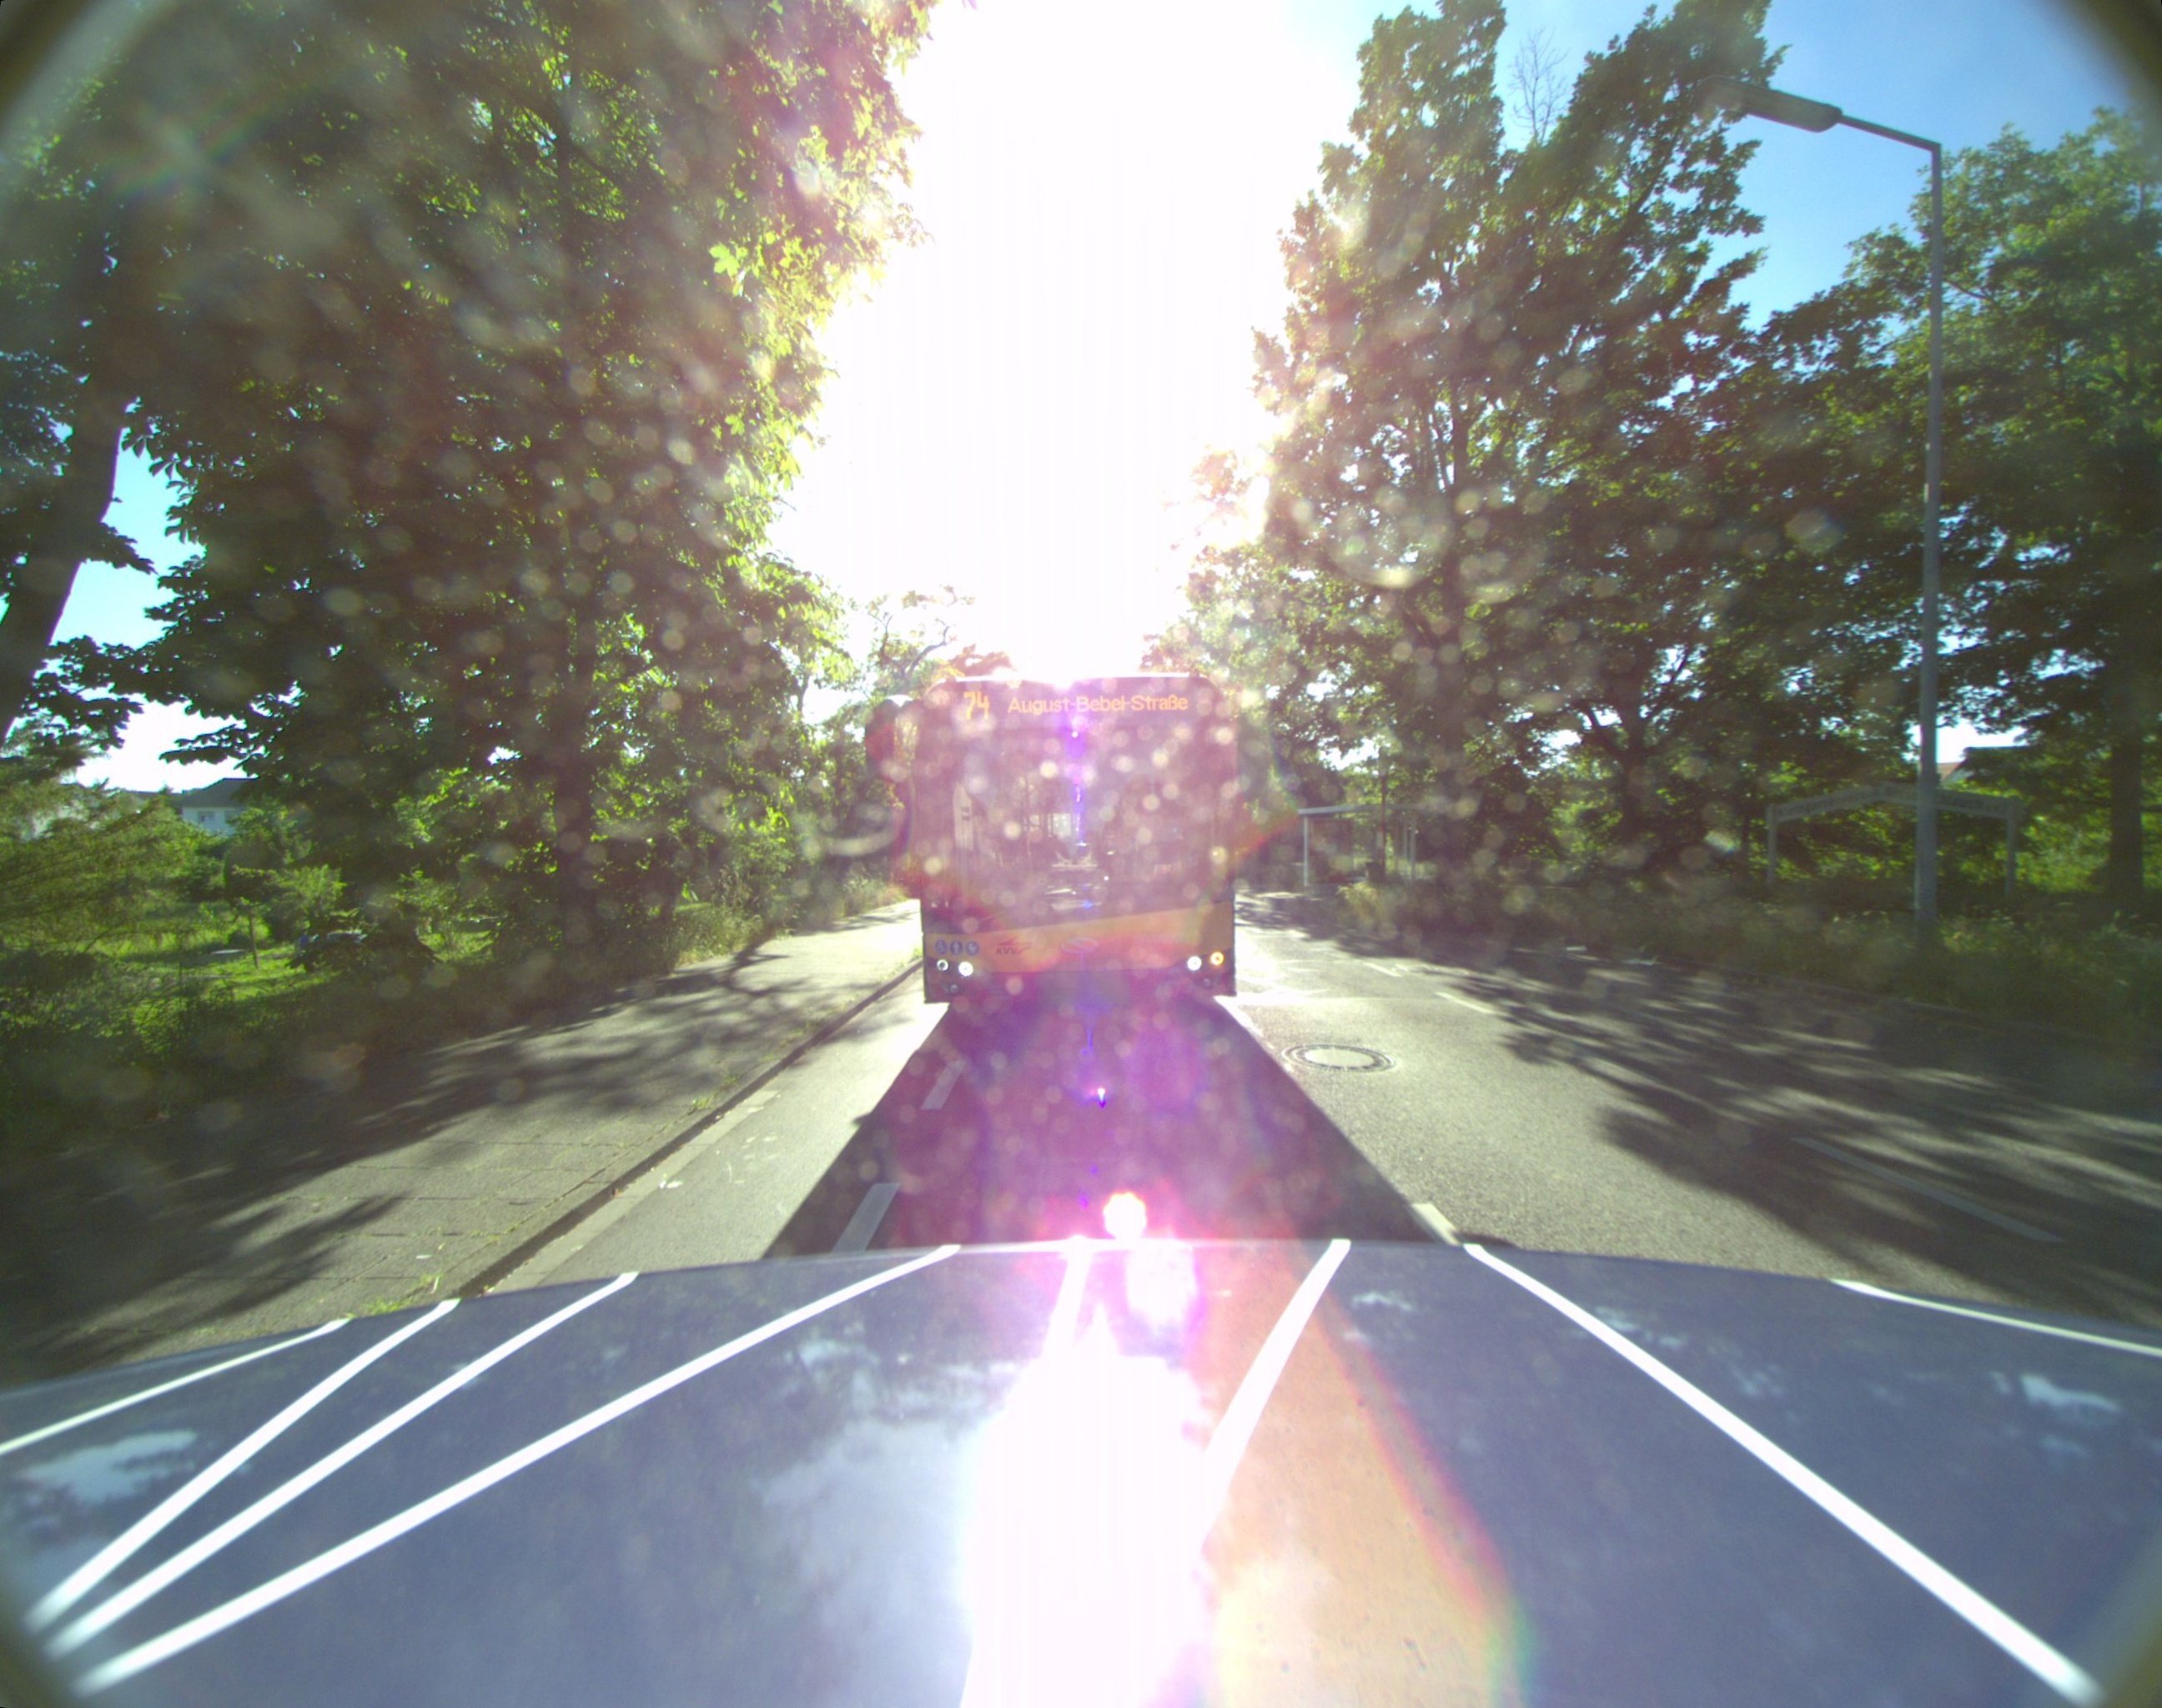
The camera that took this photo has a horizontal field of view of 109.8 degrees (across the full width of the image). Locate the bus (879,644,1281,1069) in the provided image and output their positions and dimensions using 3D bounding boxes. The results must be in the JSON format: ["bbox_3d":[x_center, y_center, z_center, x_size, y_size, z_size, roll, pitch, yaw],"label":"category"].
[{"bbox_3d":[-0.064,-0.063,11.938,2.790,2.966,12.891,-2,1,-1],"label":"bus"}]
